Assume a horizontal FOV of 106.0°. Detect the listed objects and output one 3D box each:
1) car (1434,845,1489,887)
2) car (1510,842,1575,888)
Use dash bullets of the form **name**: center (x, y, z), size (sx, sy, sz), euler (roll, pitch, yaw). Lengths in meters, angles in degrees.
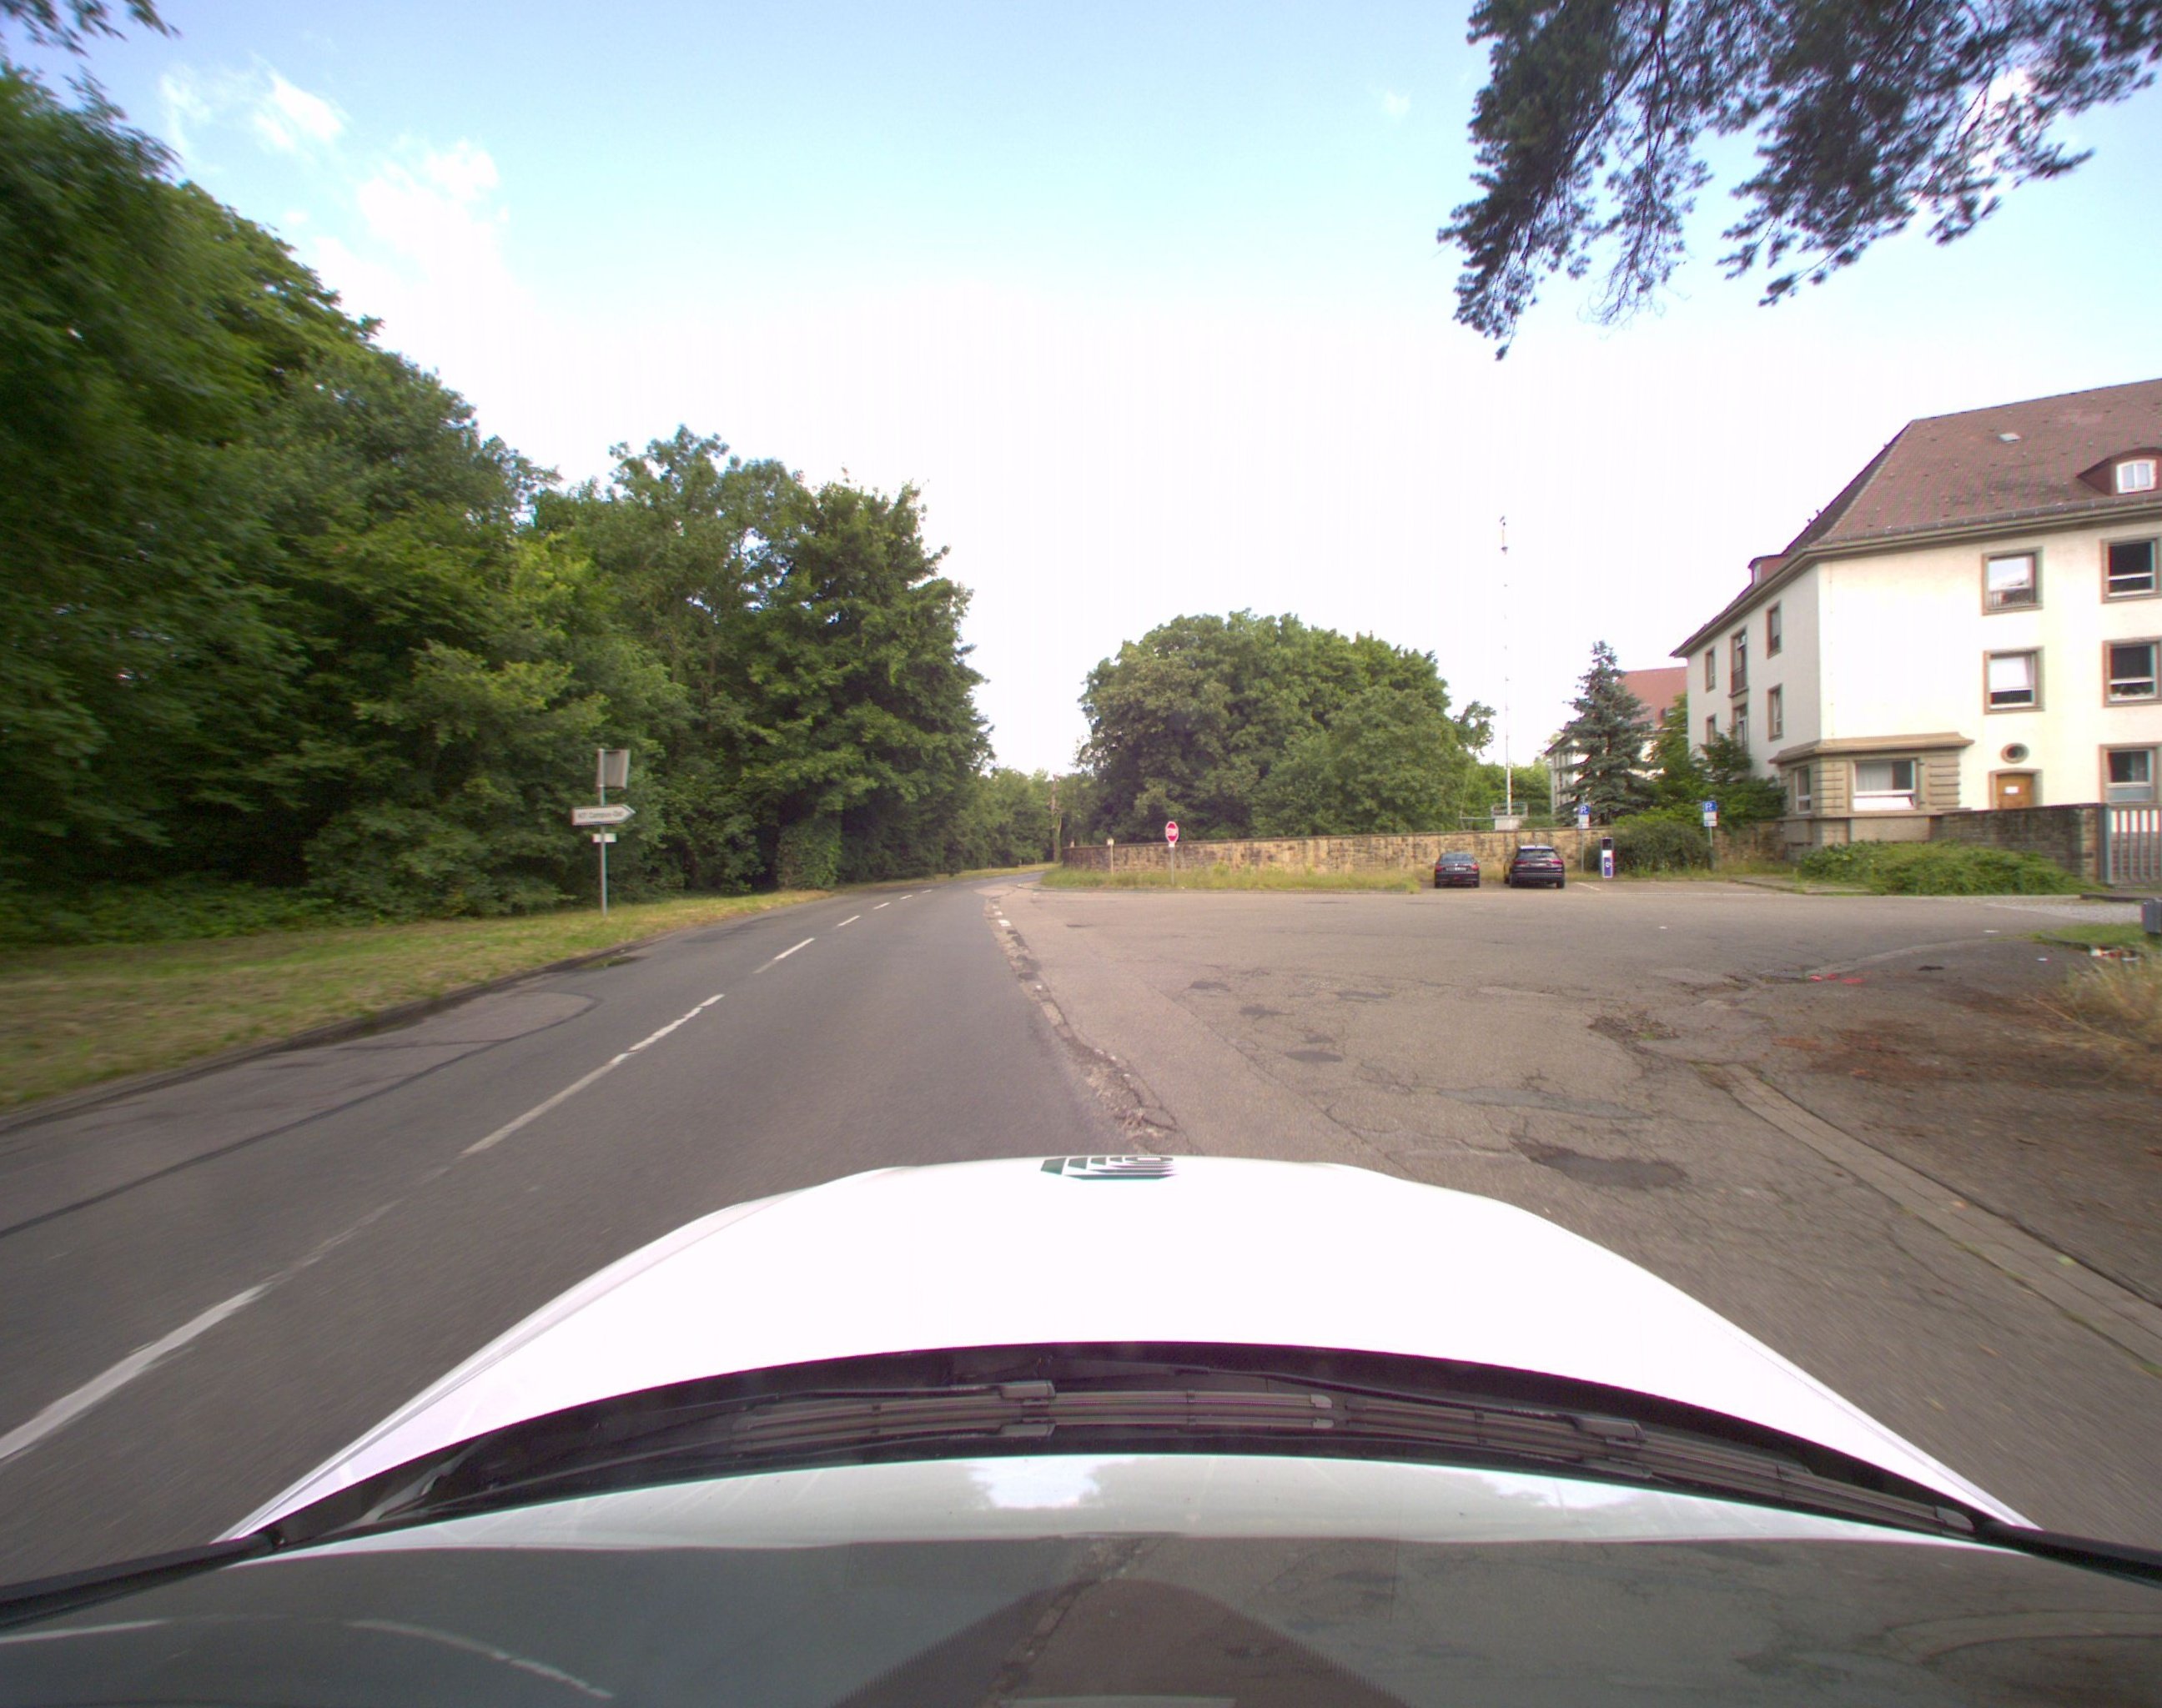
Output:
- **car**: center (15.437, 0.451, 32.921), size (1.856, 1.441, 4.024), euler (-2, 1, 26)
- **car**: center (17.649, 0.370, 31.304), size (1.876, 1.546, 4.024), euler (-2, 1, 26)
